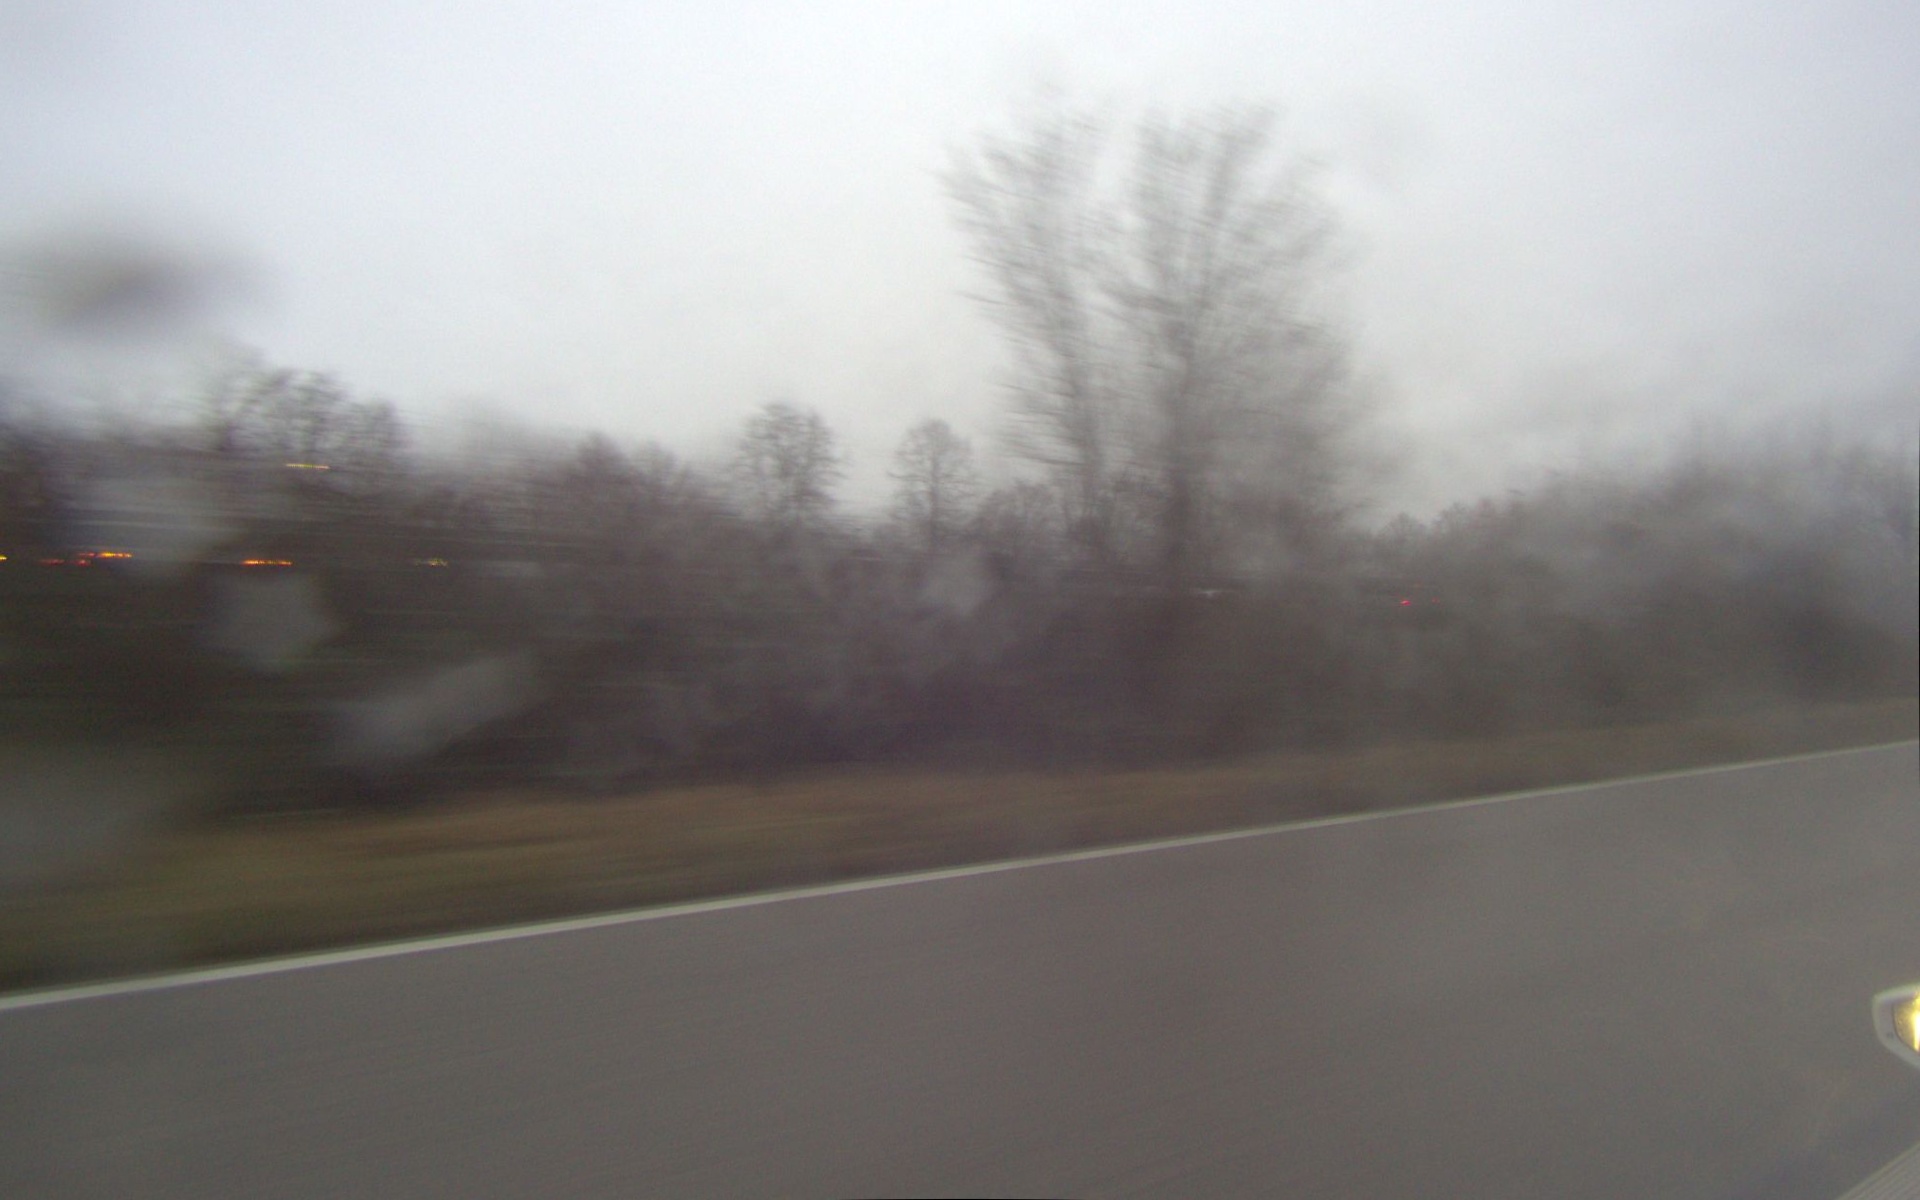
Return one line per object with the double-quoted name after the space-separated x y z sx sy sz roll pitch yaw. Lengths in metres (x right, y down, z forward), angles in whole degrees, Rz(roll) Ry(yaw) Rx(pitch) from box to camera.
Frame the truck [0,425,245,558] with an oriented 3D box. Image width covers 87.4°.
-19.520 -2.359 22.431 5.594 2.526 1.983 2 0 -32 "truck"
